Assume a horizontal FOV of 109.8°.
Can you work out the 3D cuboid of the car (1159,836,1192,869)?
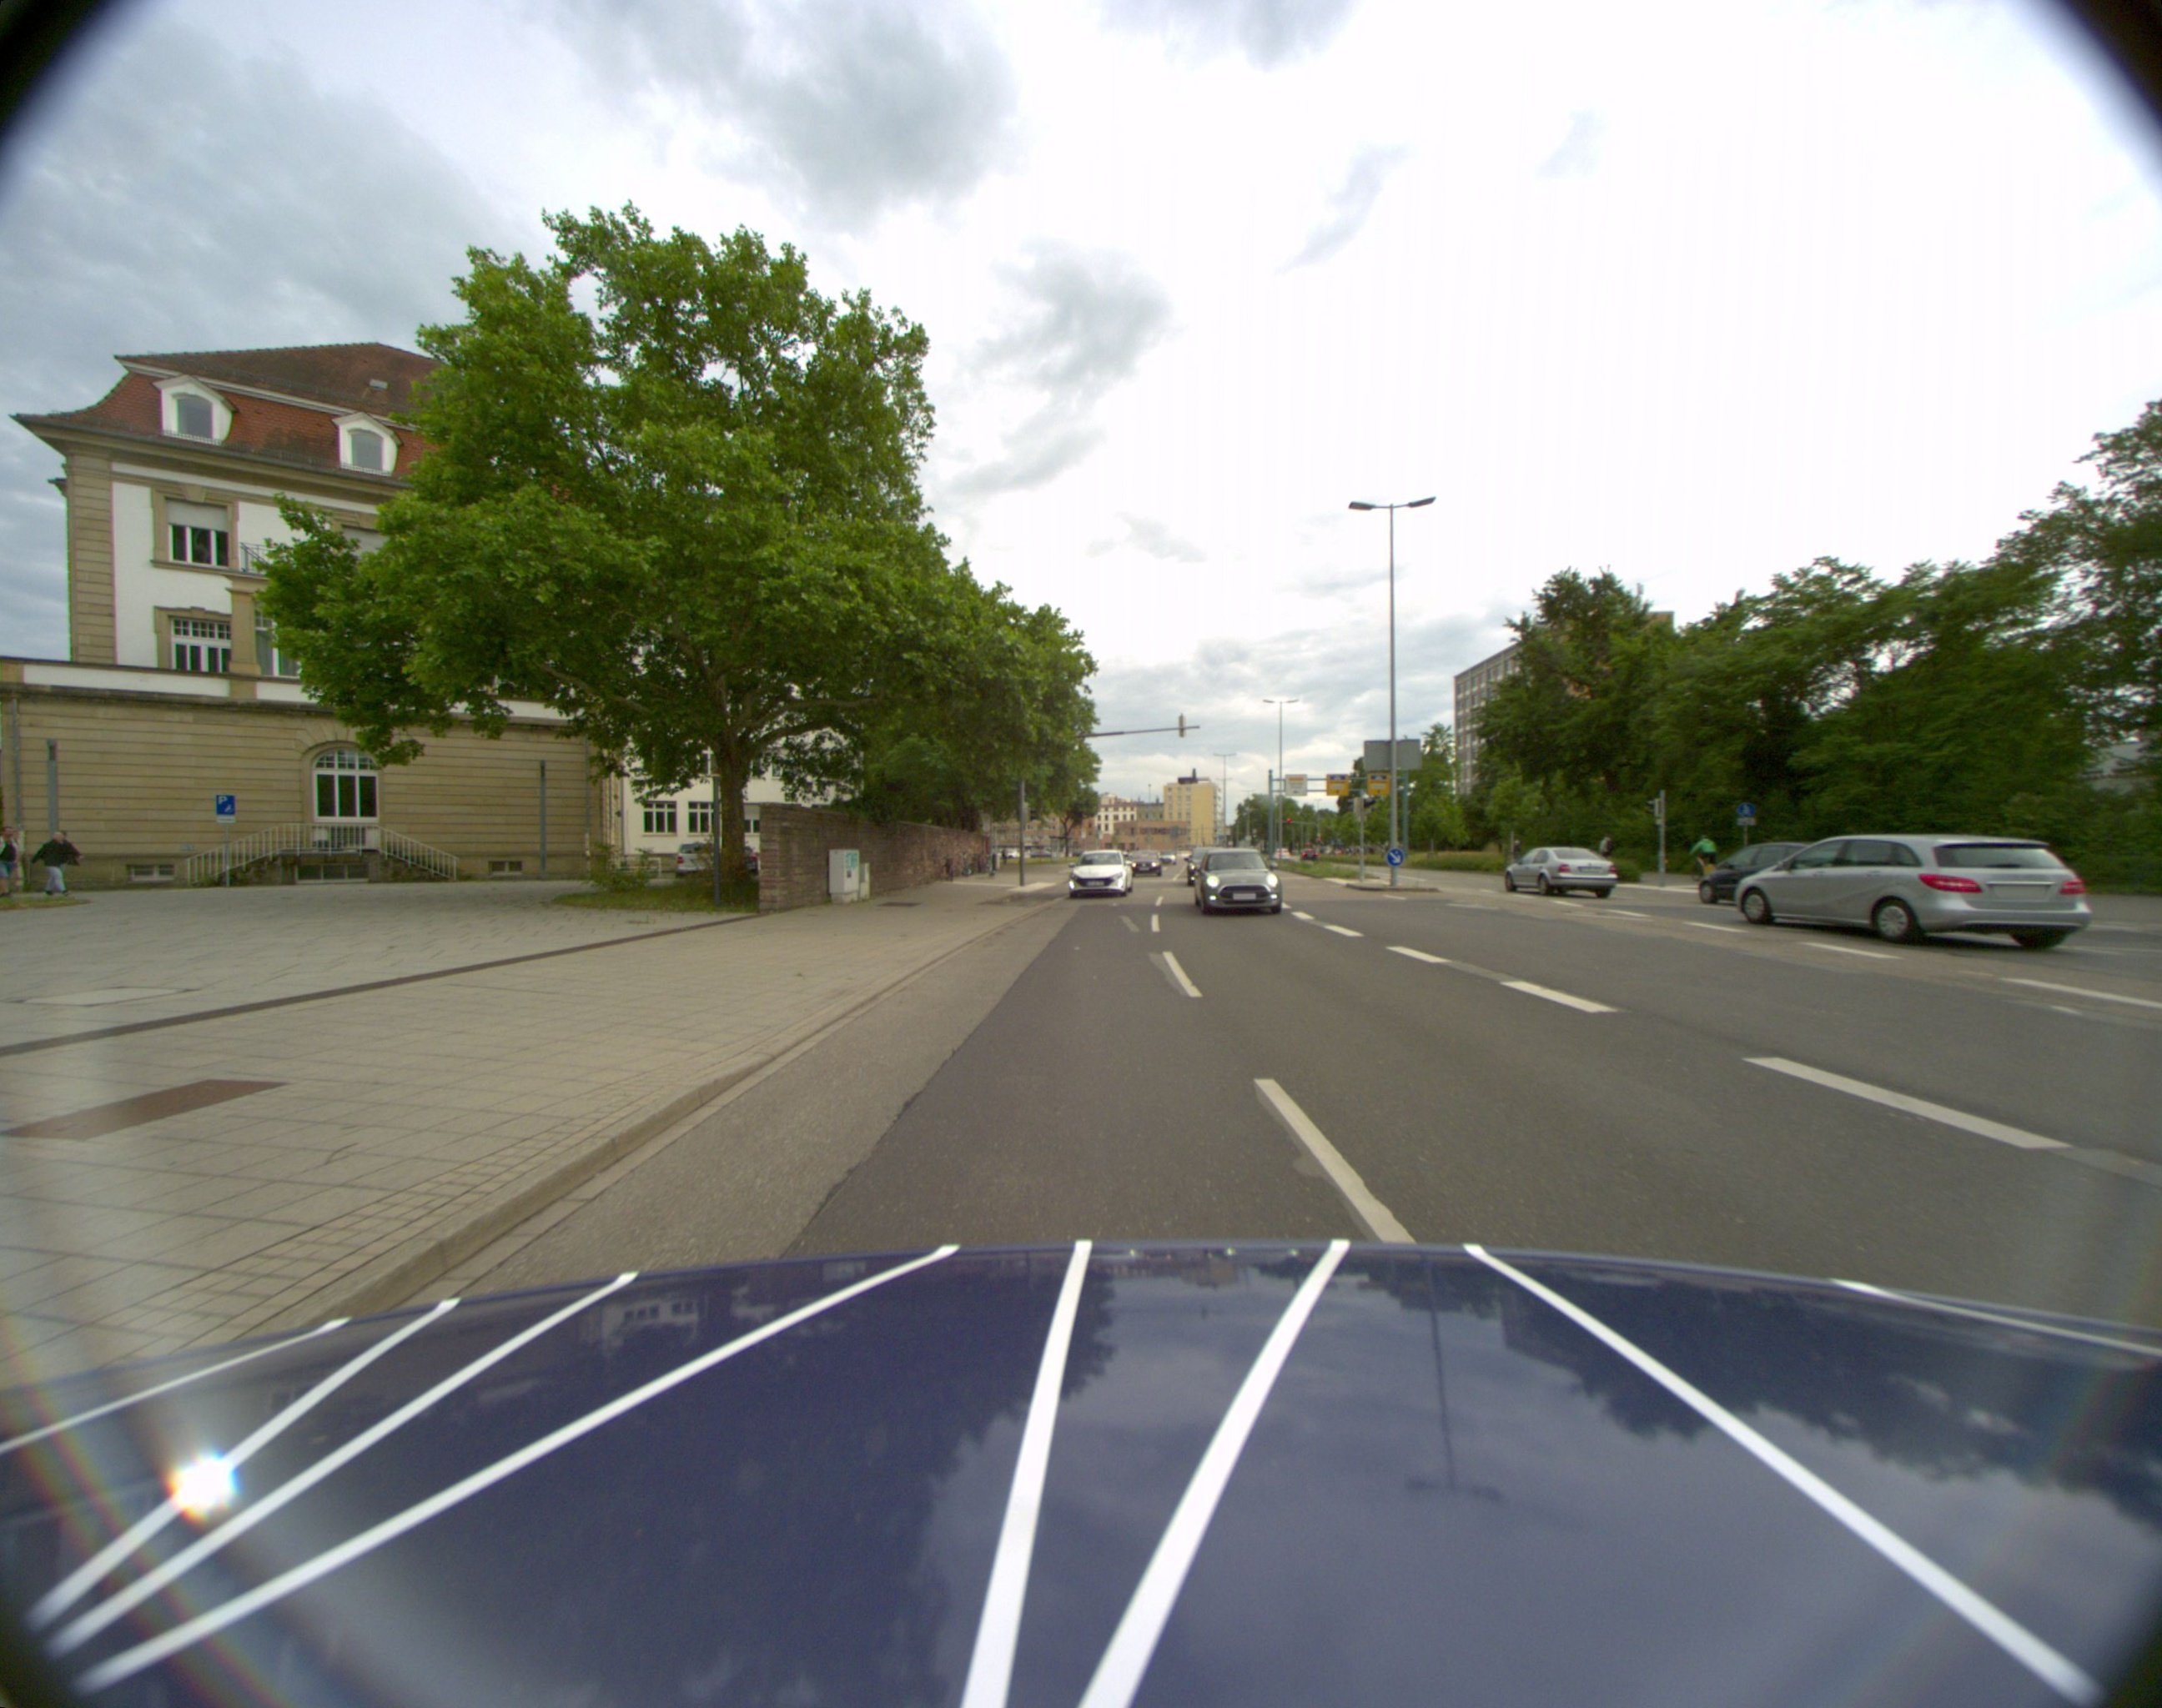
[{"bbox_3d":[6.023,-0.129,48.228,1.997,2.002,4.002,0,1,8],"label":"car"}]

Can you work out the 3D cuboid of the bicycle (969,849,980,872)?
[{"bbox_3d":[-5.555,0.330,39.664,0.386,1.137,1.939,-2,1,-12],"label":"bicycle"}]

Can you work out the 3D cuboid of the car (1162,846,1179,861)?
[{"bbox_3d":[8.780,-0.061,74.461,1.605,1.360,3.580,1,1,7],"label":"car"}]

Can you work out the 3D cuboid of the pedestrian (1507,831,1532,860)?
[{"bbox_3d":[25.365,-0.504,43.982,0.990,1.616,0.813,-2,1,6],"label":"pedestrian"}]

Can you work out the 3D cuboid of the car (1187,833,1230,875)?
[{"bbox_3d":[6.252,-0.033,37.572,1.997,2.002,4.002,0,1,8],"label":"car"}]

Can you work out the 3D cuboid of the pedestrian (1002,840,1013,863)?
[{"bbox_3d":[-6.702,-0.242,69.092,0.784,2.001,0.888,1,-2,-19],"label":"pedestrian"}]

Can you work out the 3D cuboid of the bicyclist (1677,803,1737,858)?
[{"bbox_3d":[23.682,-0.866,28.763,1.185,2.002,1.280,-2,1,-15],"label":"bicyclist"}]

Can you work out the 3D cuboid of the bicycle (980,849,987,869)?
[{"bbox_3d":[-5.705,0.272,44.641,0.339,1.137,1.676,-2,1,-7],"label":"bicycle"}]

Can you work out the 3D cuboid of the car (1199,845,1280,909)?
[{"bbox_3d":[3.548,0.451,17.549,1.624,1.310,3.707,0,1,8],"label":"car"}]

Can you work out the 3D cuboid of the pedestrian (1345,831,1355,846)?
[{"bbox_3d":[36.436,-2.105,102.759,0.881,2.002,1.221,-2,1,1],"label":"pedestrian"}]

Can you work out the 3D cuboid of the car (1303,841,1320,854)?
[{"bbox_3d":[29.485,-0.849,97.267,1.852,1.543,4.004,-1,1,15],"label":"car"}]

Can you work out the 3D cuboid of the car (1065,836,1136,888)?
[{"bbox_3d":[0.718,0.206,24.300,1.812,1.533,4.002,0,1,8],"label":"car"}]

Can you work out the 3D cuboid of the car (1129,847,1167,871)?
[{"bbox_3d":[3.666,0.259,41.308,1.702,1.182,2.832,-2,1,12],"label":"car"}]

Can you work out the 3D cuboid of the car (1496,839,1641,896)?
[{"bbox_3d":[14.272,0.319,22.590,1.997,1.520,4.276,0,1,8],"label":"car"}]

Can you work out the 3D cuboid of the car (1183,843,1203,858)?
[{"bbox_3d":[11.389,-0.381,77.436,1.997,1.536,4.001,0,1,7],"label":"car"}]

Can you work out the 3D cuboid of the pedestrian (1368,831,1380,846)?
[{"bbox_3d":[36.901,-1.959,95.736,1.136,1.908,1.163,-2,1,12],"label":"pedestrian"}]

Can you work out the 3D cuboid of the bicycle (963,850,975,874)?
[{"bbox_3d":[-5.392,0.365,36.492,0.386,1.137,1.939,-2,1,-12],"label":"bicycle"}]

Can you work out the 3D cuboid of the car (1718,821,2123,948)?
[{"bbox_3d":[12.309,0.364,11.689,1.960,1.575,4.259,1,0,10],"label":"car"}]

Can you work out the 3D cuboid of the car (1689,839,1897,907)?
[{"bbox_3d":[16.748,0.372,18.164,1.856,1.455,3.699,0,1,9],"label":"car"}]

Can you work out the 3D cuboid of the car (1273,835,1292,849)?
[{"bbox_3d":[26.154,-1.584,98.614,1.892,1.763,4.002,-2,1,9],"label":"car"}]

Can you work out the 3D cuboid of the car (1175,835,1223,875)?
[{"bbox_3d":[4.576,0.017,29.568,1.731,1.450,4.002,0,1,8],"label":"car"}]

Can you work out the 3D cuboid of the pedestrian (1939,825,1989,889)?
[{"bbox_3d":[23.732,0.073,20.434,0.590,1.685,0.653,-2,1,8],"label":"pedestrian"}]

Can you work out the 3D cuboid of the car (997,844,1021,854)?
[{"bbox_3d":[-12.814,-0.873,136.087,3.996,1.760,2.000,0,1,3],"label":"car"}]

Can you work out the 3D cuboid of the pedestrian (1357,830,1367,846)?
[{"bbox_3d":[37.388,-2.113,101.168,0.881,2.002,1.221,-2,1,1],"label":"pedestrian"}]

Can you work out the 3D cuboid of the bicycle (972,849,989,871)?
[{"bbox_3d":[-5.445,0.307,41.162,0.386,1.137,1.938,-3,1,-22],"label":"bicycle"}]

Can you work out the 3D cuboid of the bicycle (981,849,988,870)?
[{"bbox_3d":[-5.451,0.286,42.793,0.339,1.137,1.940,-2,1,-7],"label":"bicycle"}]

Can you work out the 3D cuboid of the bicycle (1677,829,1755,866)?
[{"bbox_3d":[23.931,-0.235,28.702,0.607,1.326,2.308,-2,1,-15],"label":"bicycle"}]

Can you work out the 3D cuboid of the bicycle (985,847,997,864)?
[{"bbox_3d":[-5.658,0.087,47.978,0.478,1.070,2.083,0,1,1],"label":"bicycle"}]

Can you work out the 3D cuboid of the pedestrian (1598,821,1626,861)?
[{"bbox_3d":[27.757,-0.692,39.704,0.908,2.003,0.823,-3,3,13],"label":"pedestrian"}]
